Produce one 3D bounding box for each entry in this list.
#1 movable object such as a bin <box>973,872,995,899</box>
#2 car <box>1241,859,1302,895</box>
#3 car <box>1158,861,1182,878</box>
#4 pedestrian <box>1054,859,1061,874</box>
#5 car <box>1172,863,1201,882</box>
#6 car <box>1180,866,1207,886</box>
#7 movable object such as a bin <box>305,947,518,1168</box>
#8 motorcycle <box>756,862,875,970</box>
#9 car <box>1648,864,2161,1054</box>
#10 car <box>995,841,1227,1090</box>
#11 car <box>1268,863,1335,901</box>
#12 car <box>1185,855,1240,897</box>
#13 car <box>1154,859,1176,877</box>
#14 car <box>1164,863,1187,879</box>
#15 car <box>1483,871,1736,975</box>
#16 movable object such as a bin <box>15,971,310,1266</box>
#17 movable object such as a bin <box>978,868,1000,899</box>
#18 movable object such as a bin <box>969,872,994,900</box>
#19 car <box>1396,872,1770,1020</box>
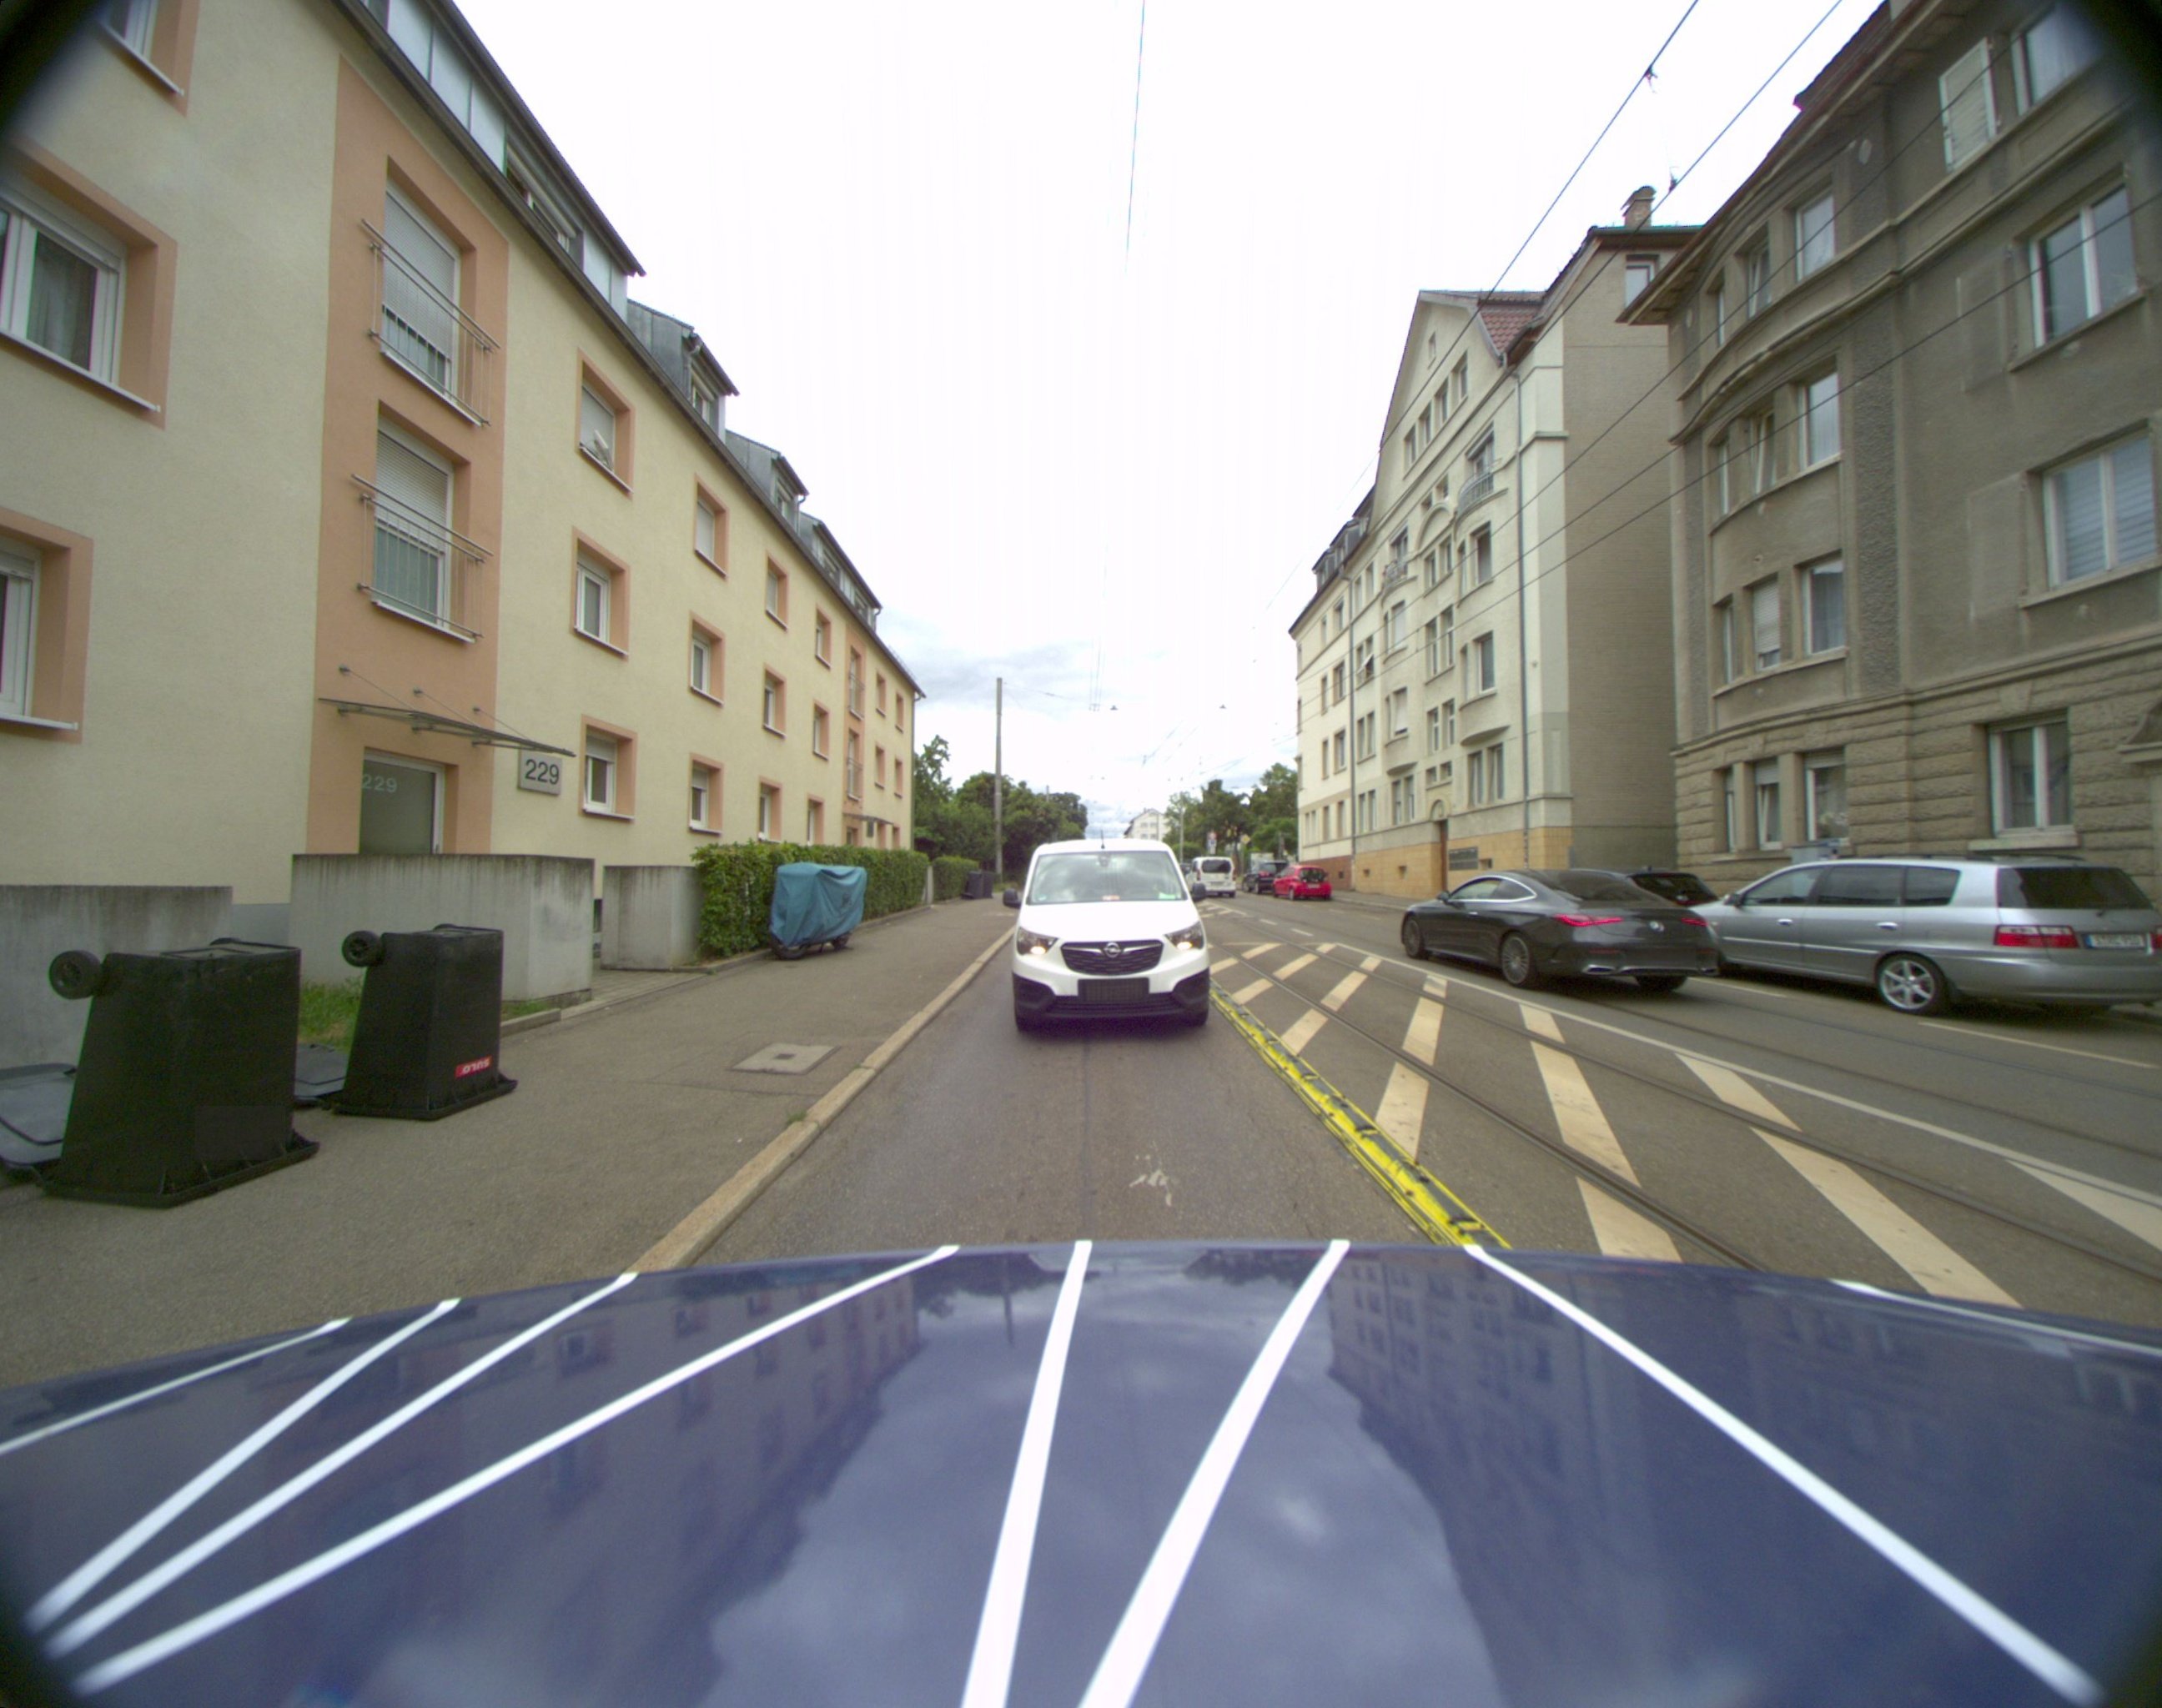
[{"bbox_3d":[-3.743,1.223,29.408,0.794,1.006,0.789,0,0,-3],"label":"movable object such as a bin"},{"bbox_3d":[9.341,1.087,37.633,1.872,1.636,4.401,1,0,-1],"label":"car"},{"bbox_3d":[9.543,1.680,81.690,1.974,1.676,4.632,1,0,-1],"label":"car"},{"bbox_3d":[-2.443,1.305,79.050,0.716,1.611,0.718,0,0,1],"label":"pedestrian"},{"bbox_3d":[9.702,1.679,69.872,1.974,1.676,4.443,1,0,-1],"label":"car"},{"bbox_3d":[9.328,1.800,63.220,1.625,1.469,4.156,1,0,-1],"label":"car"},{"bbox_3d":[-3.761,1.106,4.319,0.590,1.073,0.692,0,0,3],"label":"movable object such as a bin"},{"bbox_3d":[-3.912,0.844,11.486,0.840,1.448,2.553,0,0,1],"label":"motorcycle"},{"bbox_3d":[8.900,0.927,8.629,1.625,1.594,4.351,1,-1,-1],"label":"car"},{"bbox_3d":[0.282,0.860,7.877,1.730,1.850,4.421,0,-1,1],"label":"car"},{"bbox_3d":[9.376,1.169,32.569,1.625,1.454,3.744,1,0,-2],"label":"car"},{"bbox_3d":[5.936,0.951,34.682,1.925,1.808,4.218,0,0,2],"label":"car"},{"bbox_3d":[9.631,1.550,87.283,1.974,1.901,4.734,1,0,-1],"label":"car"},{"bbox_3d":[9.429,1.706,76.026,1.743,1.500,3.869,1,0,-1],"label":"car"},{"bbox_3d":[9.044,1.092,13.483,1.625,1.454,4.032,1,0,-1],"label":"car"},{"bbox_3d":[-3.890,1.079,3.258,0.612,1.073,0.541,0,0,3],"label":"movable object such as a bin"},{"bbox_3d":[-3.669,1.156,30.275,0.794,1.211,0.789,0,0,-3],"label":"movable object such as a bin"},{"bbox_3d":[-3.725,1.196,28.469,0.794,1.006,0.789,0,0,3],"label":"movable object such as a bin"},{"bbox_3d":[5.993,0.984,9.916,1.926,1.416,4.498,0,0,0],"label":"car"}]
